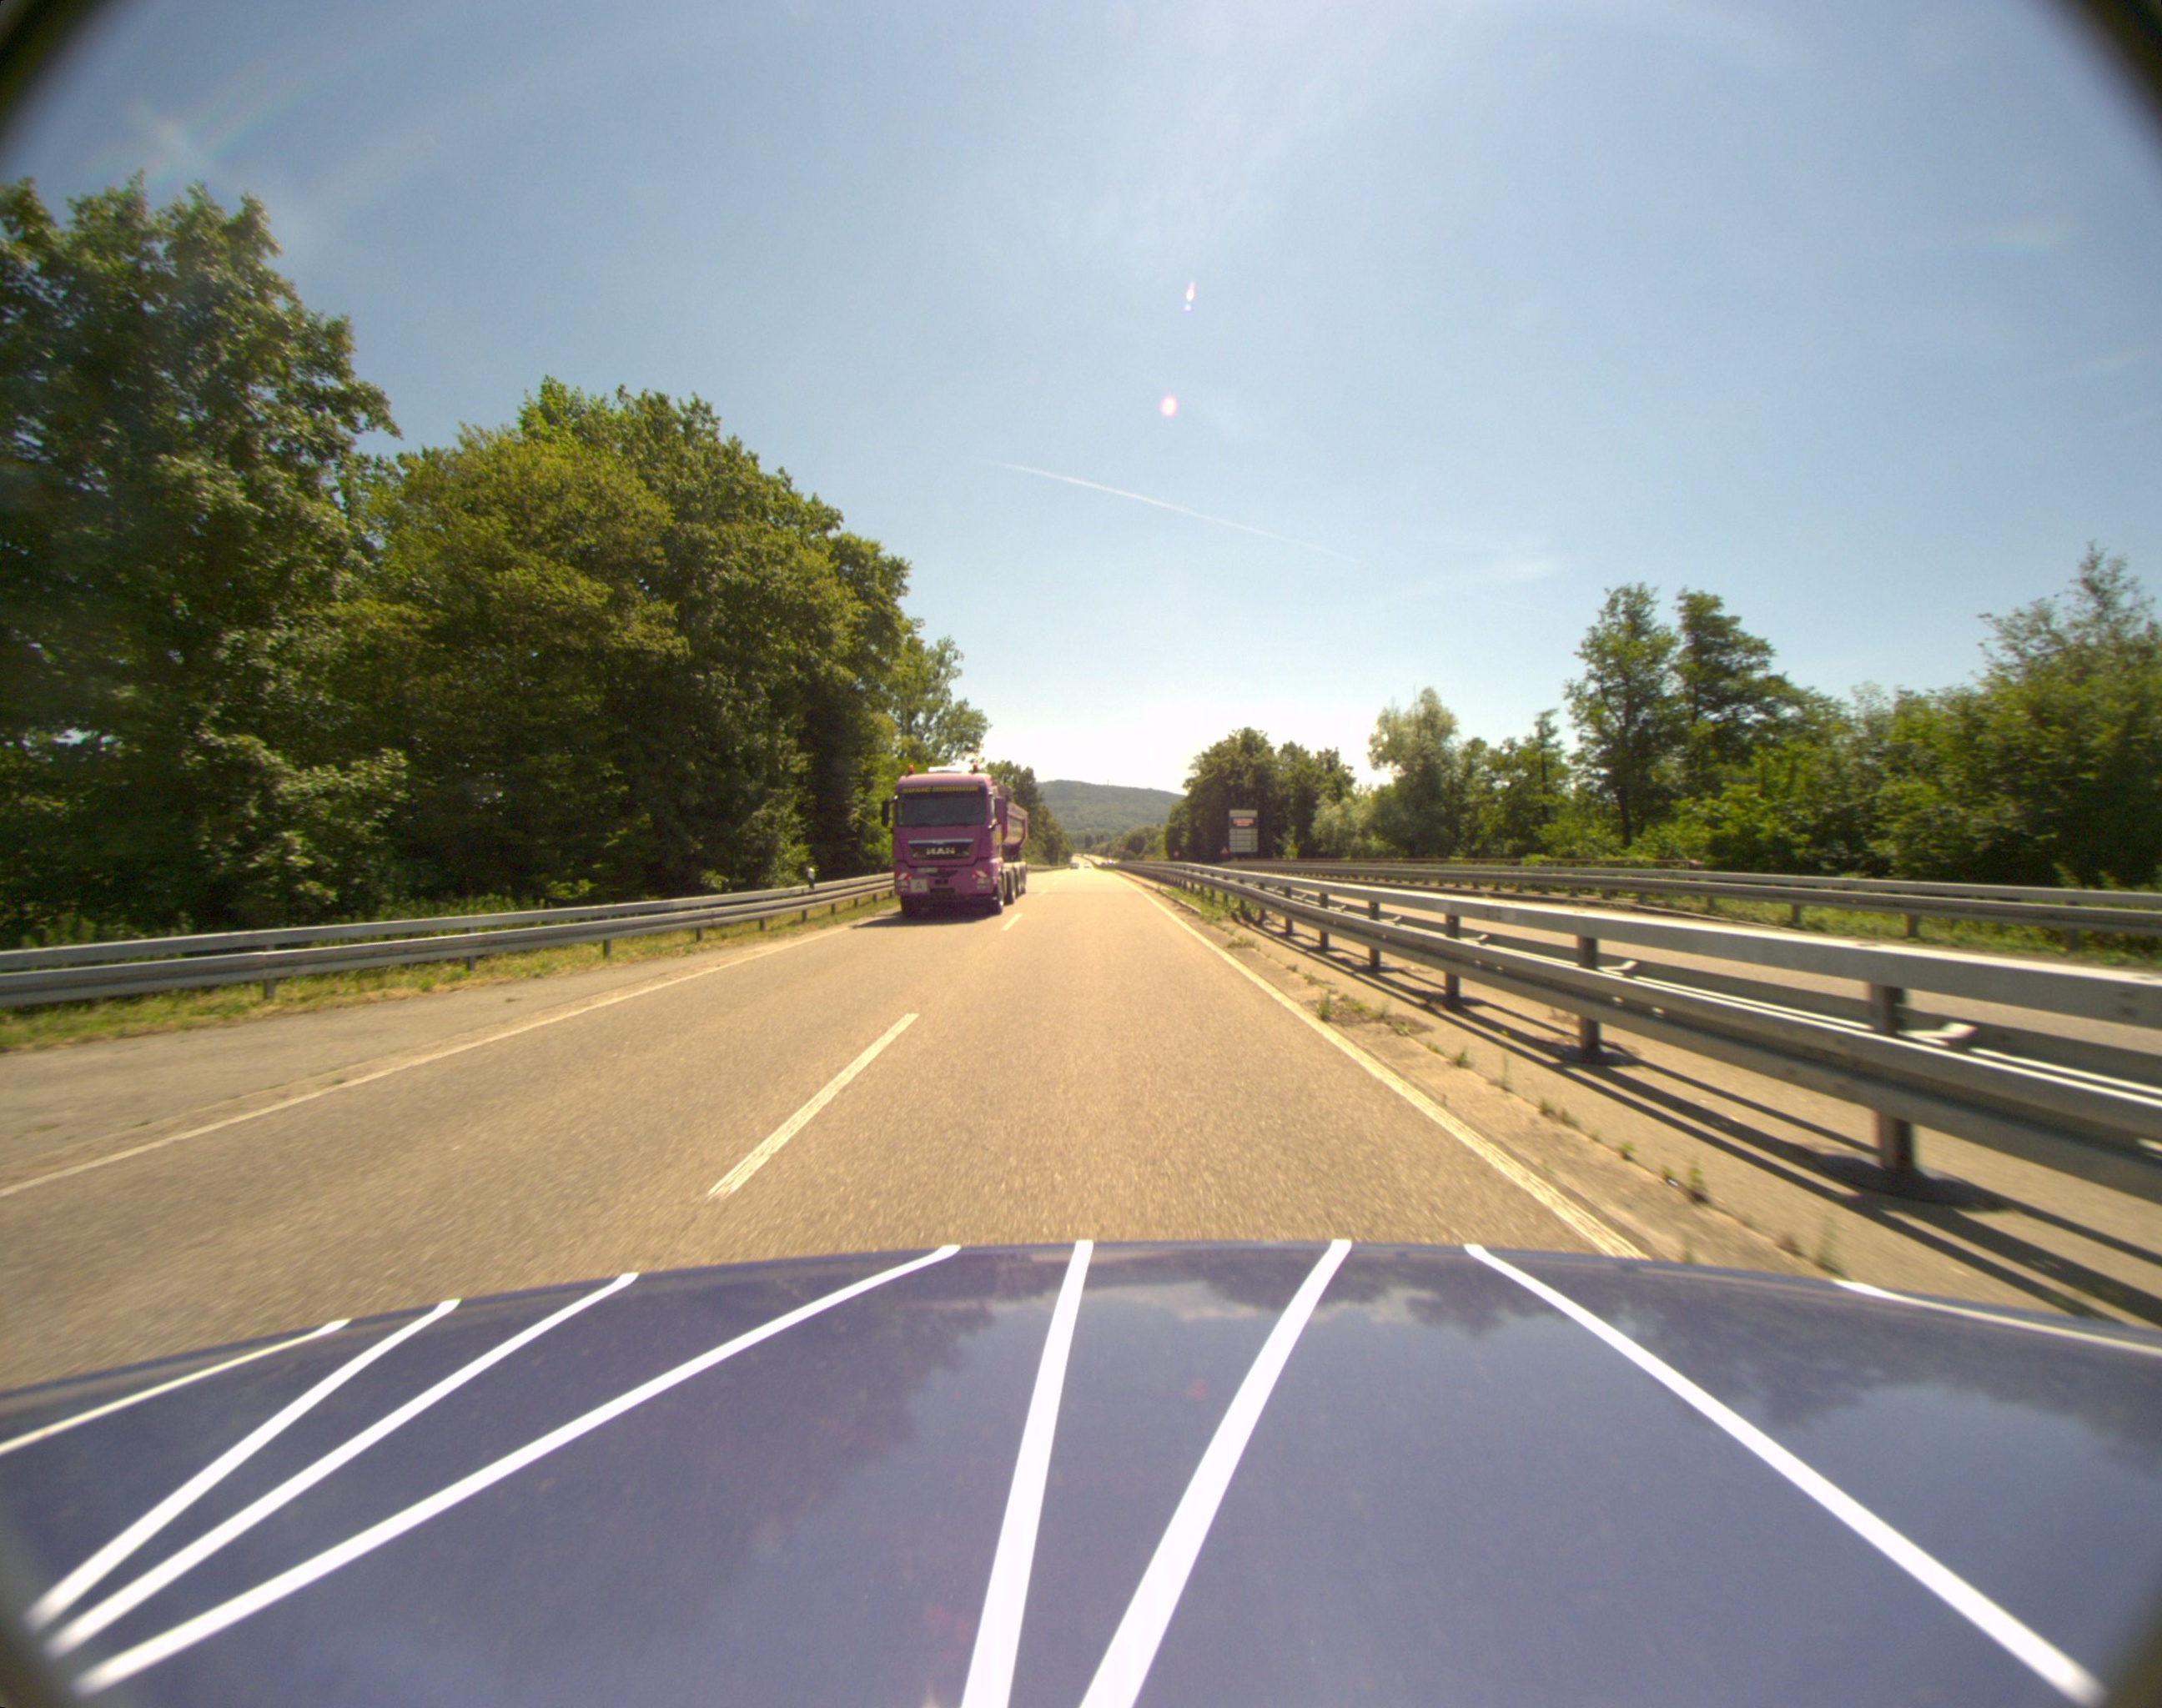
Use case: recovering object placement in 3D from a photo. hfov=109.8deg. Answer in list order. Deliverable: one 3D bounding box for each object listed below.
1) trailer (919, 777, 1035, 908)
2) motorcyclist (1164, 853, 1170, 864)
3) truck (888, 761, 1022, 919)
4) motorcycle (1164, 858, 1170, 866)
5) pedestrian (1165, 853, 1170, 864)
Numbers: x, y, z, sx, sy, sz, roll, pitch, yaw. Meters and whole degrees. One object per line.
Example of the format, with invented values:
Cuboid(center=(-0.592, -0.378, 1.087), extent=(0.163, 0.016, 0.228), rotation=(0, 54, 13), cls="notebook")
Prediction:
Cuboid(center=(-3.169, -0.291, 25.512), extent=(2.605, 3.608, 8.614), rotation=(-1, 0, 0), cls="trailer")
Cuboid(center=(11.453, 0.615, 101.097), extent=(0.616, 1.531, 0.777), rotation=(-1, 0, 1), cls="motorcyclist")
Cuboid(center=(-3.196, -0.306, 20.889), extent=(2.605, 3.670, 5.939), rotation=(-1, 0, 0), cls="truck")
Cuboid(center=(11.445, 1.071, 100.822), extent=(0.616, 1.097, 2.313), rotation=(-1, 0, 1), cls="motorcycle")
Cuboid(center=(11.443, 0.616, 100.444), extent=(0.616, 1.531, 0.494), rotation=(-1, 0, 1), cls="pedestrian")
